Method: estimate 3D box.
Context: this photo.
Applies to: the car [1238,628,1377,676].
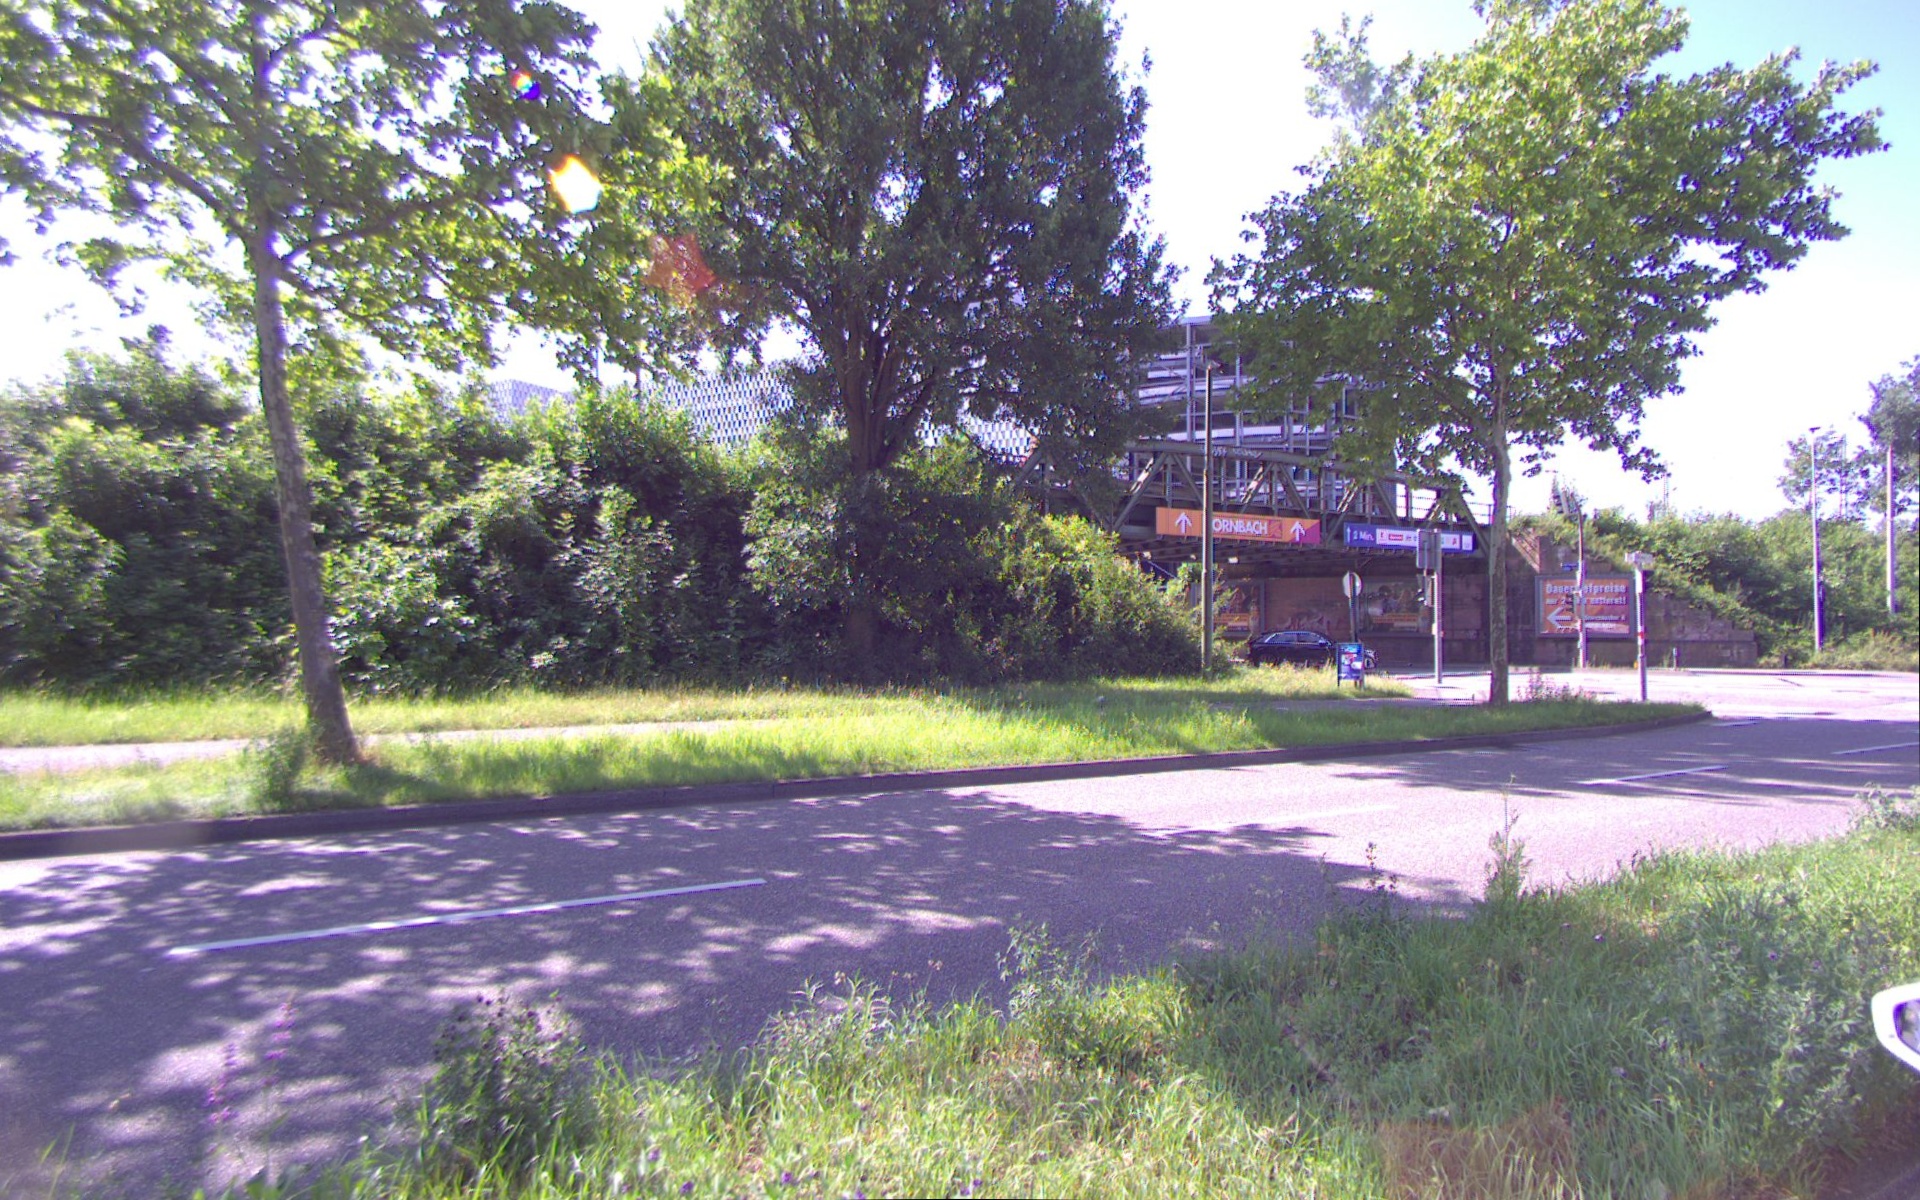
[{"bbox_3d":[13.422,1.970,38.834,4.957,1.617,1.526,1,-1,24],"label":"car"}]
